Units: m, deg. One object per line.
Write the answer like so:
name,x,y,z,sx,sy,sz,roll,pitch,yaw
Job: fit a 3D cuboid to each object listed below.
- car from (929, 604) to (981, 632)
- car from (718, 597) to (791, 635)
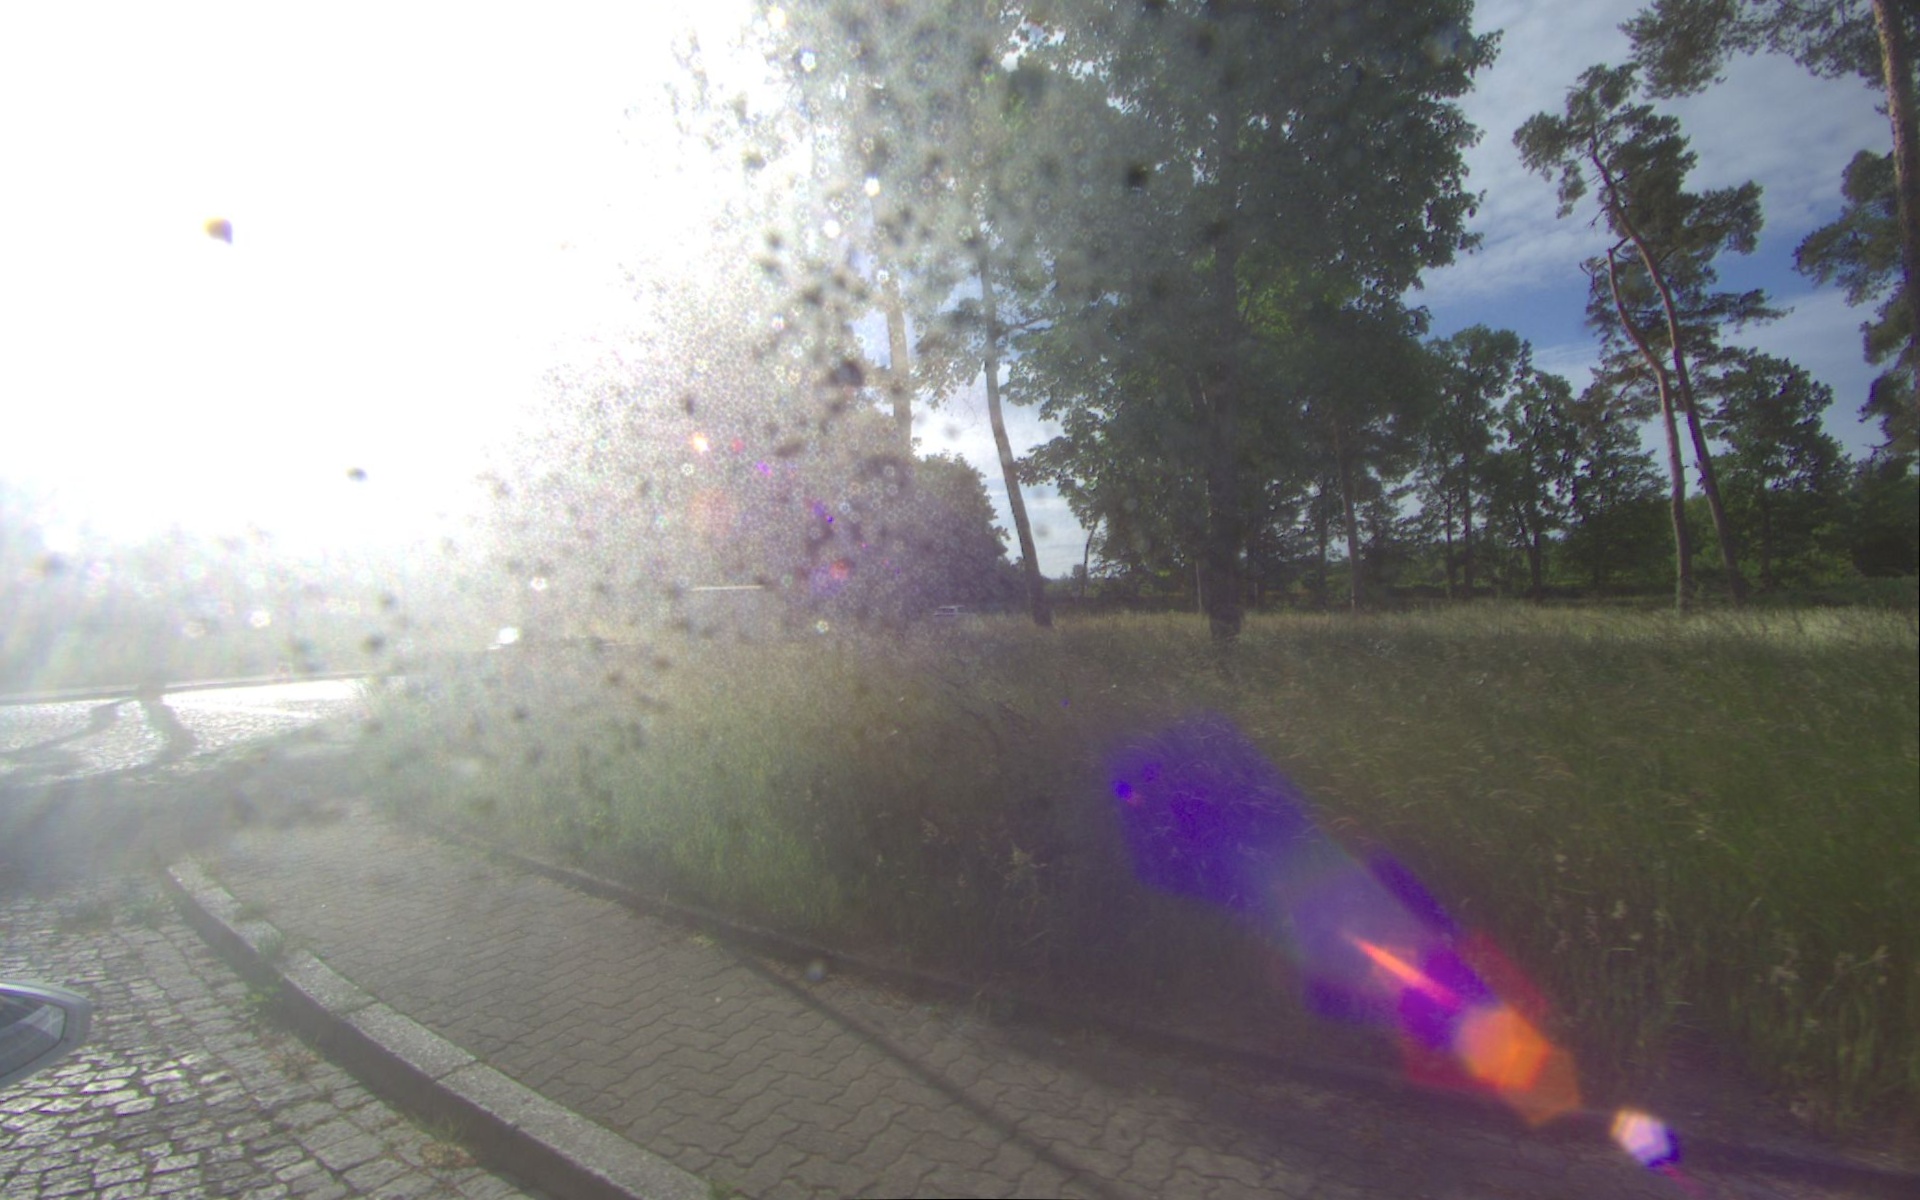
car,-0.281,1.143,64.079,1.827,1.701,3.931,-1,-1,25
car,-14.519,1.144,71.068,2.230,2.568,5.153,-1,-1,29
